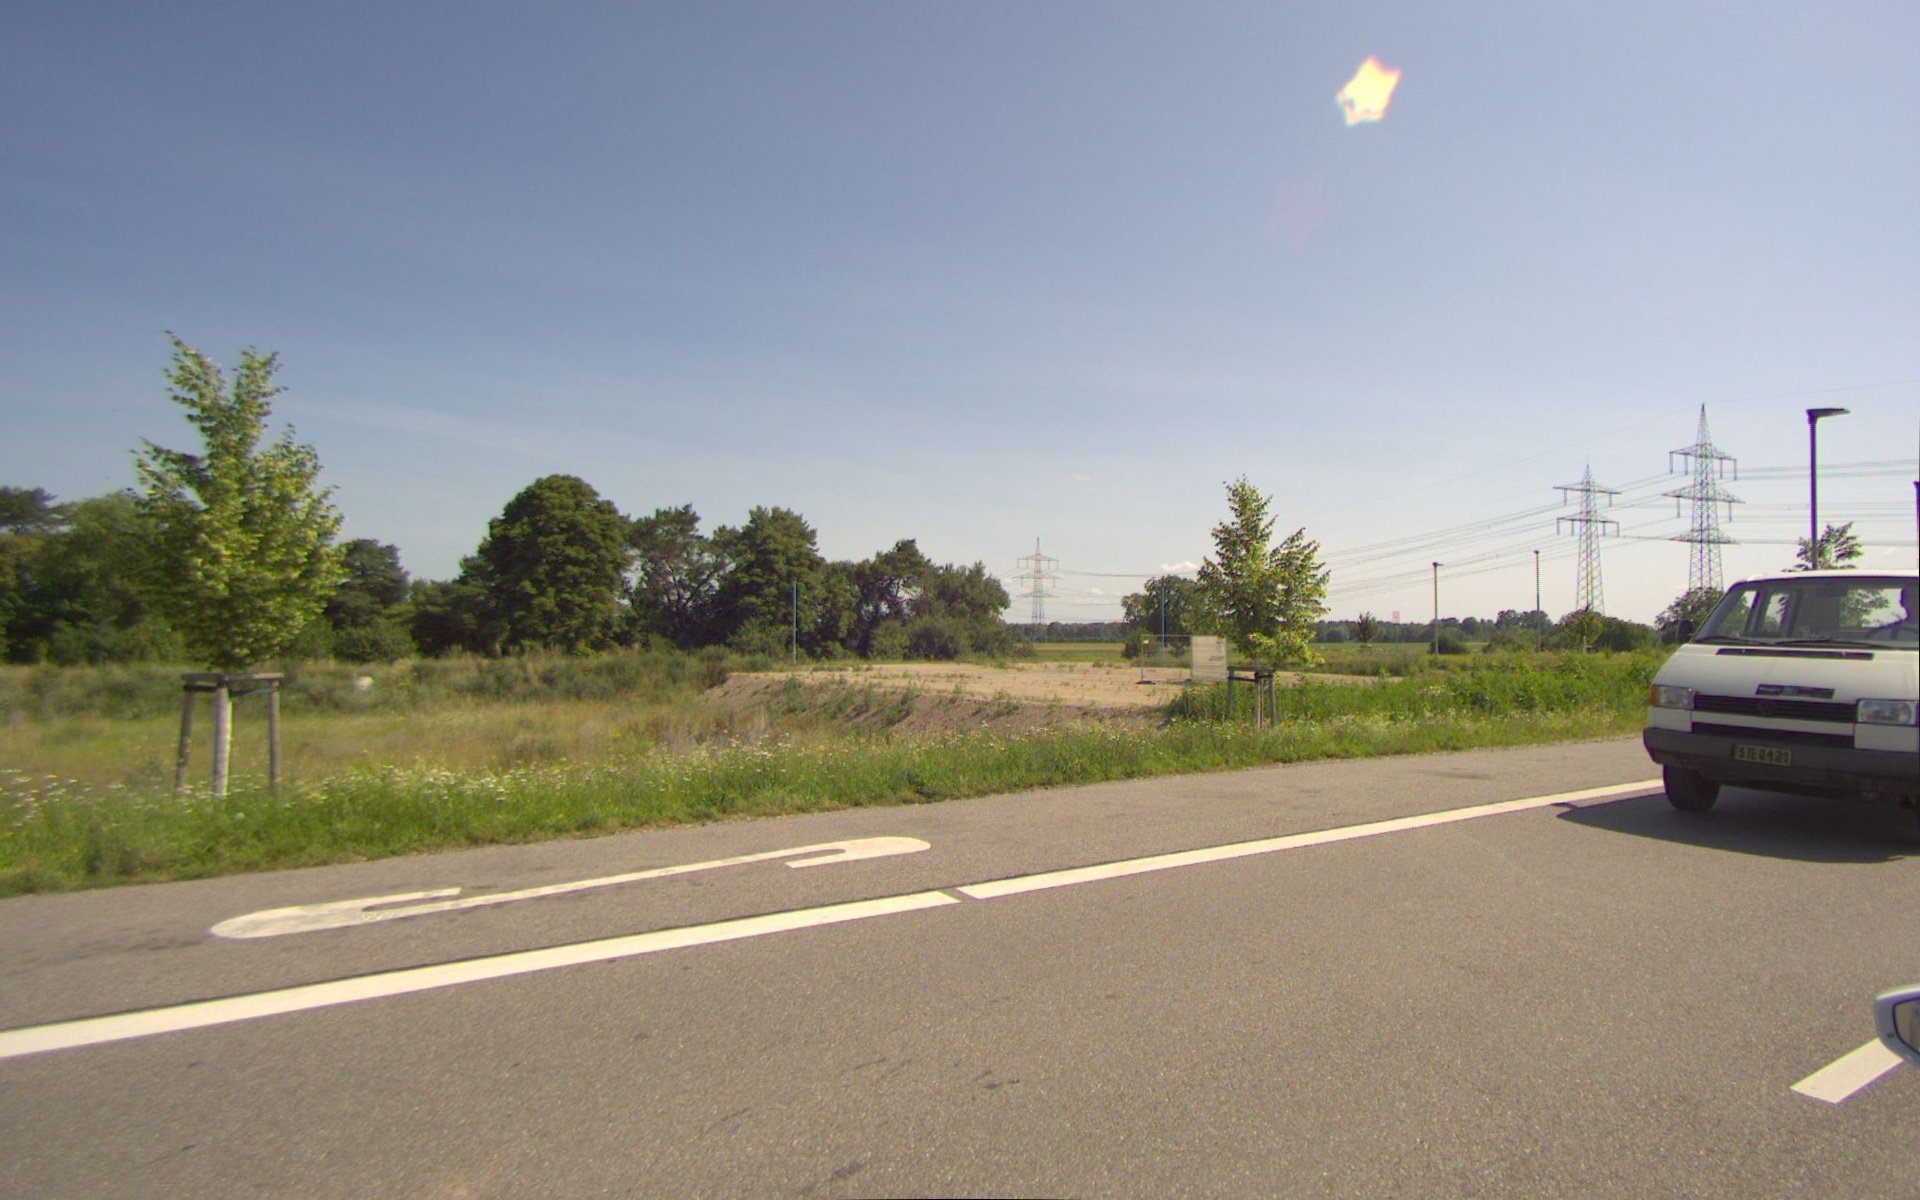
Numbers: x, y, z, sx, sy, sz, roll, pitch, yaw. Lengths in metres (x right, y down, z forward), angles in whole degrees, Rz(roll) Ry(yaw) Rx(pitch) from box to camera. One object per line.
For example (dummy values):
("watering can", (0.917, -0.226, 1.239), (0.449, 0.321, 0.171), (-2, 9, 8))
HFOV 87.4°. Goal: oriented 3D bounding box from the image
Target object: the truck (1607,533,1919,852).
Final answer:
("truck", (8.003, 0.614, 8.542), (5.578, 2.011, 1.942), (1, 0, -31))
